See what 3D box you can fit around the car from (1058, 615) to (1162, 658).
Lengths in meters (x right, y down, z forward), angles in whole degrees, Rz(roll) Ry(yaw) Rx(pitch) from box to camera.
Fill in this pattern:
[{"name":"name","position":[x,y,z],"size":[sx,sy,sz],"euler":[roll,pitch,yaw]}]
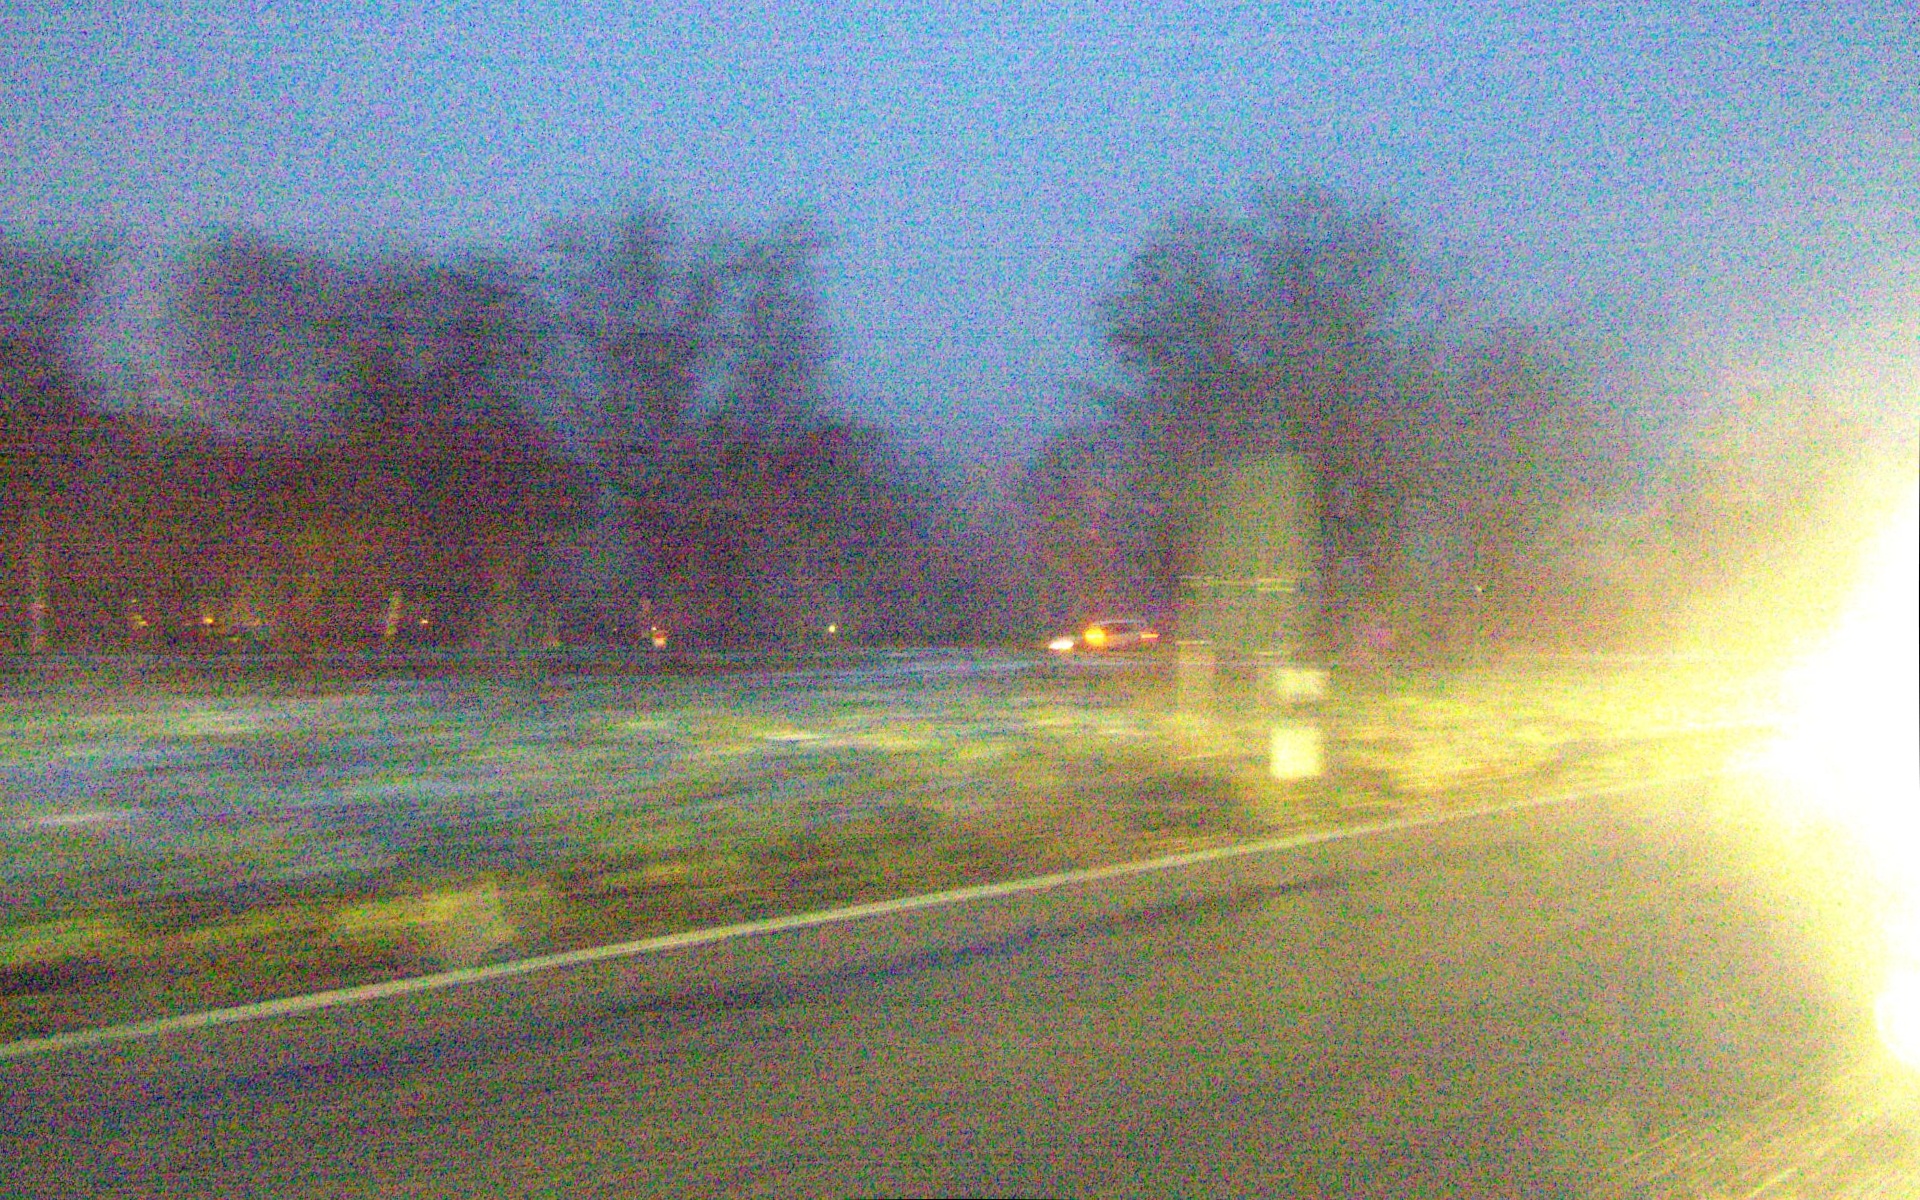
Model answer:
[{"name":"car","position":[6.354,1.565,42.771],"size":[4.083,1.709,1.694],"euler":[1,-2,-3]}]

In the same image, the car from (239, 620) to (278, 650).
[{"name":"car","position":[-58.549,2.904,83.836],"size":[2.286,2.040,4.616],"euler":[4,0,-39]}]

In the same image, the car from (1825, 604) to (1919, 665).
[{"name":"car","position":[28.598,0.994,29.212],"size":[1.979,1.758,4.882],"euler":[1,-1,-33]}]
